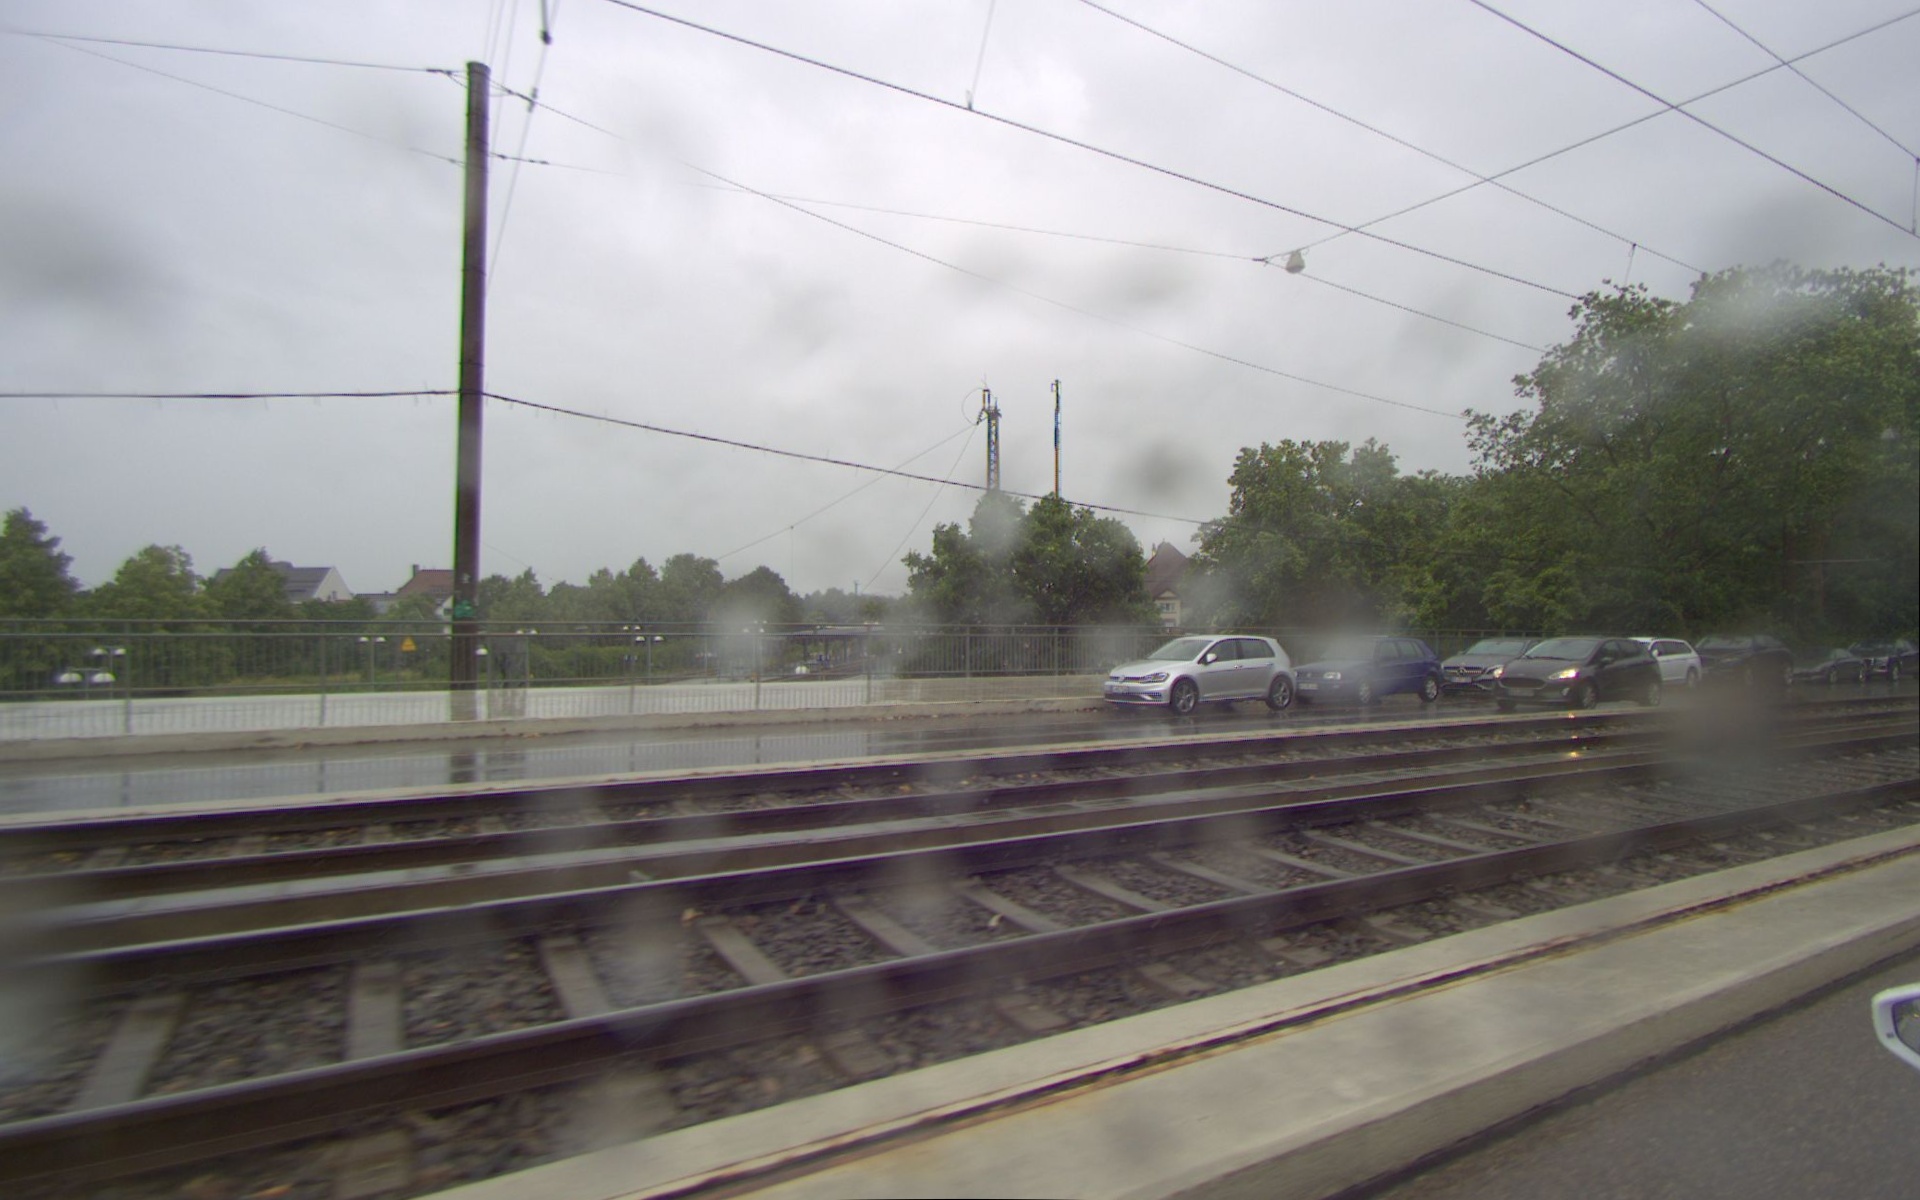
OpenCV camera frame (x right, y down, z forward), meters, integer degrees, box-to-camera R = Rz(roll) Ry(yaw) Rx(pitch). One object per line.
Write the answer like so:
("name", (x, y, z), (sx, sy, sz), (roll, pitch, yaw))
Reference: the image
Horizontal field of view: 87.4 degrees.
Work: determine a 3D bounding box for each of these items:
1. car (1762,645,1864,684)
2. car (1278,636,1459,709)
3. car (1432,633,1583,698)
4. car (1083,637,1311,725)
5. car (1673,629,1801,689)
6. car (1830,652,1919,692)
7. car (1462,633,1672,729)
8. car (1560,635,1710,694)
("car", (28.919, 2.158, 34.029), (3.669, 1.188, 1.499), (0, -3, -31))
("car", (9.079, 1.549, 22.227), (4.234, 1.419, 1.498), (0, -3, -32))
("car", (13.603, 1.580, 24.867), (4.364, 1.419, 1.496), (0, -3, -35))
("car", (4.686, 1.515, 19.695), (4.270, 1.474, 1.854), (0, -3, -32))
("car", (23.954, 1.772, 30.911), (4.779, 1.693, 1.498), (0, -2, -32))
("car", (33.895, 2.633, 37.007), (4.046, 1.309, 1.499), (0, -2, -30))
("car", (12.161, 1.530, 20.077), (4.213, 1.387, 1.807), (-3, 2, -30))
("car", (18.802, 1.780, 27.928), (4.838, 1.418, 1.499), (0, -6, -32))
